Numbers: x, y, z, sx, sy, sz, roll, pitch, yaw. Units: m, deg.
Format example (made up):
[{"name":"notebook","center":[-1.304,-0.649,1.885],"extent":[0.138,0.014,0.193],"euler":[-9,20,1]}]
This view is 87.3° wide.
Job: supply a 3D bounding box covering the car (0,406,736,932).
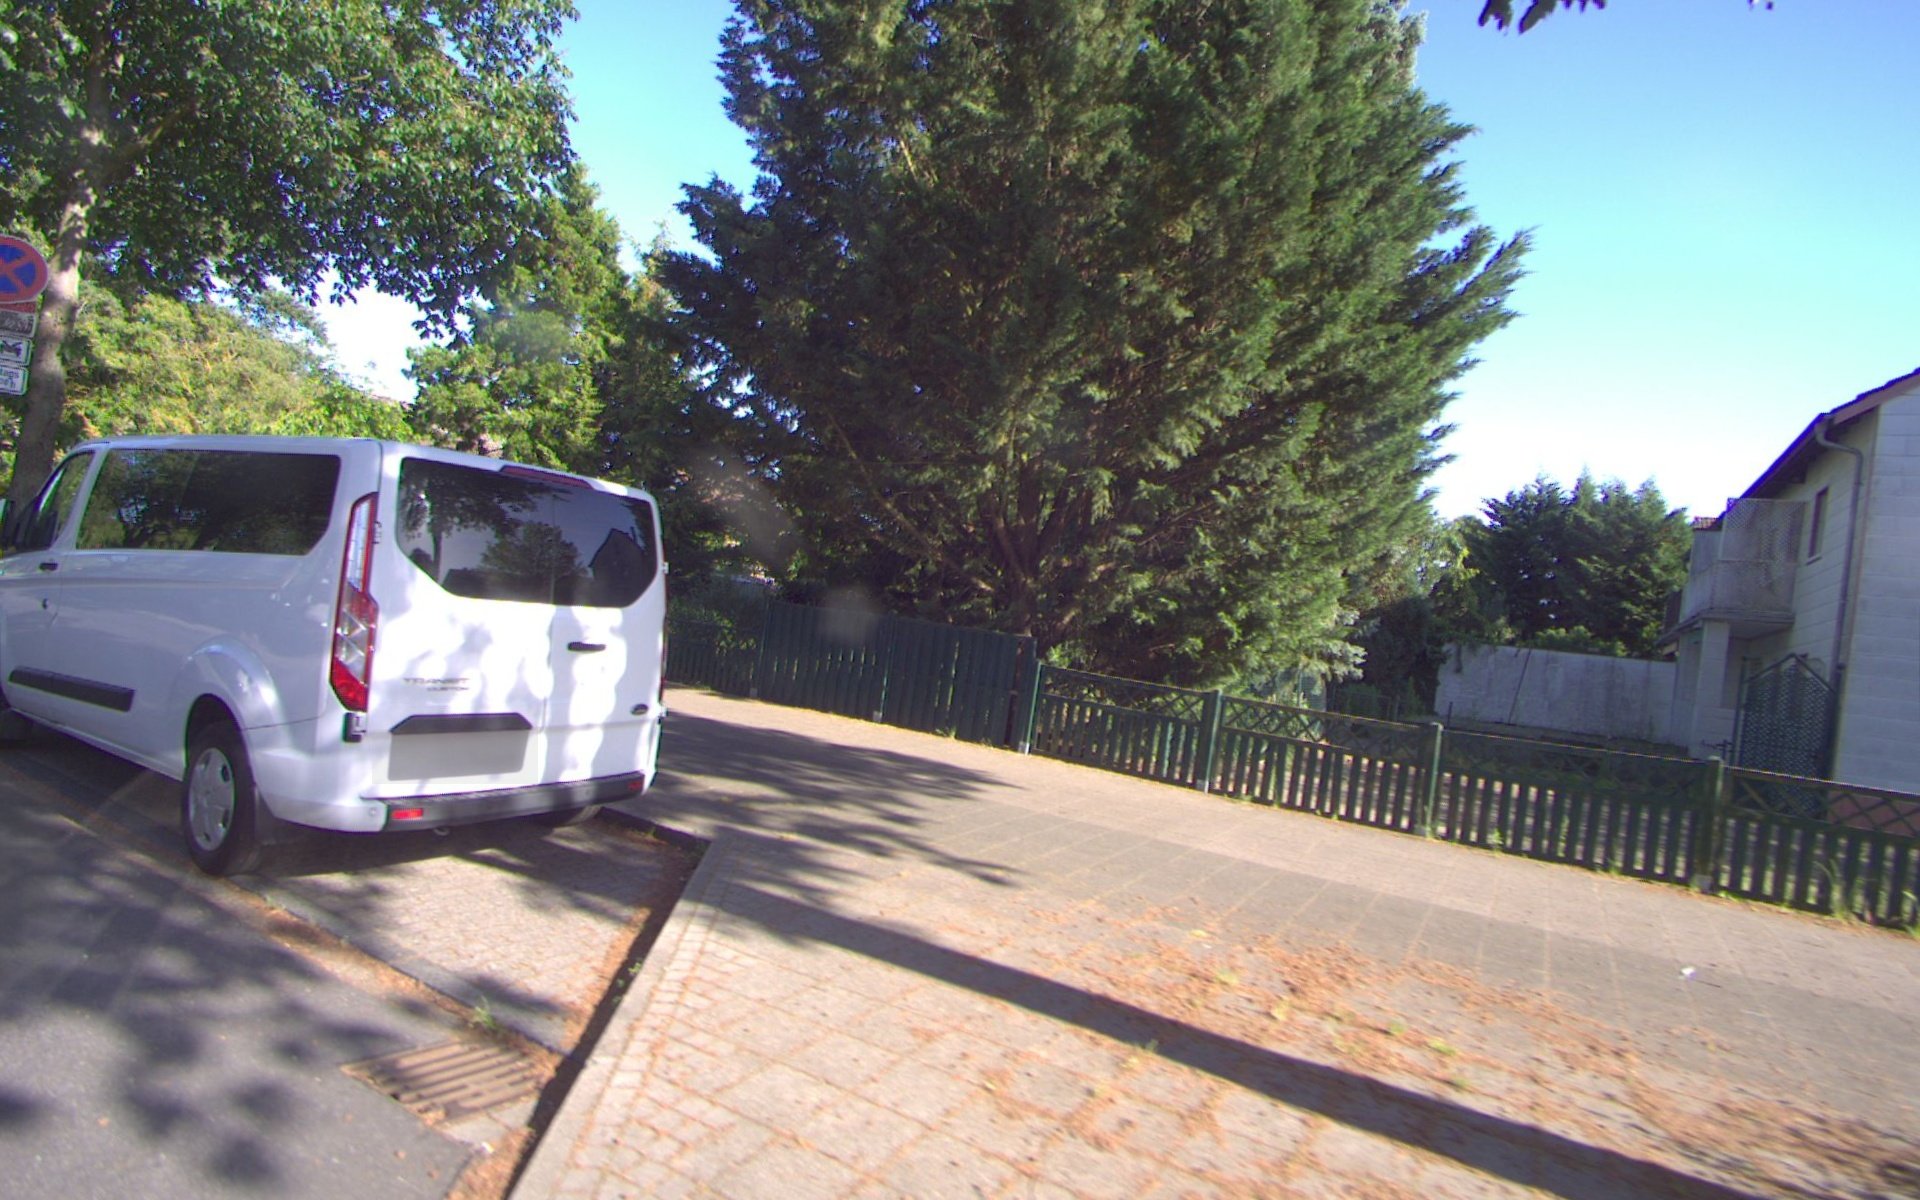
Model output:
[{"name":"car","center":[-4.069,0.146,6.021],"extent":[5.108,2.035,2.000],"euler":[6,-4,30]}]
